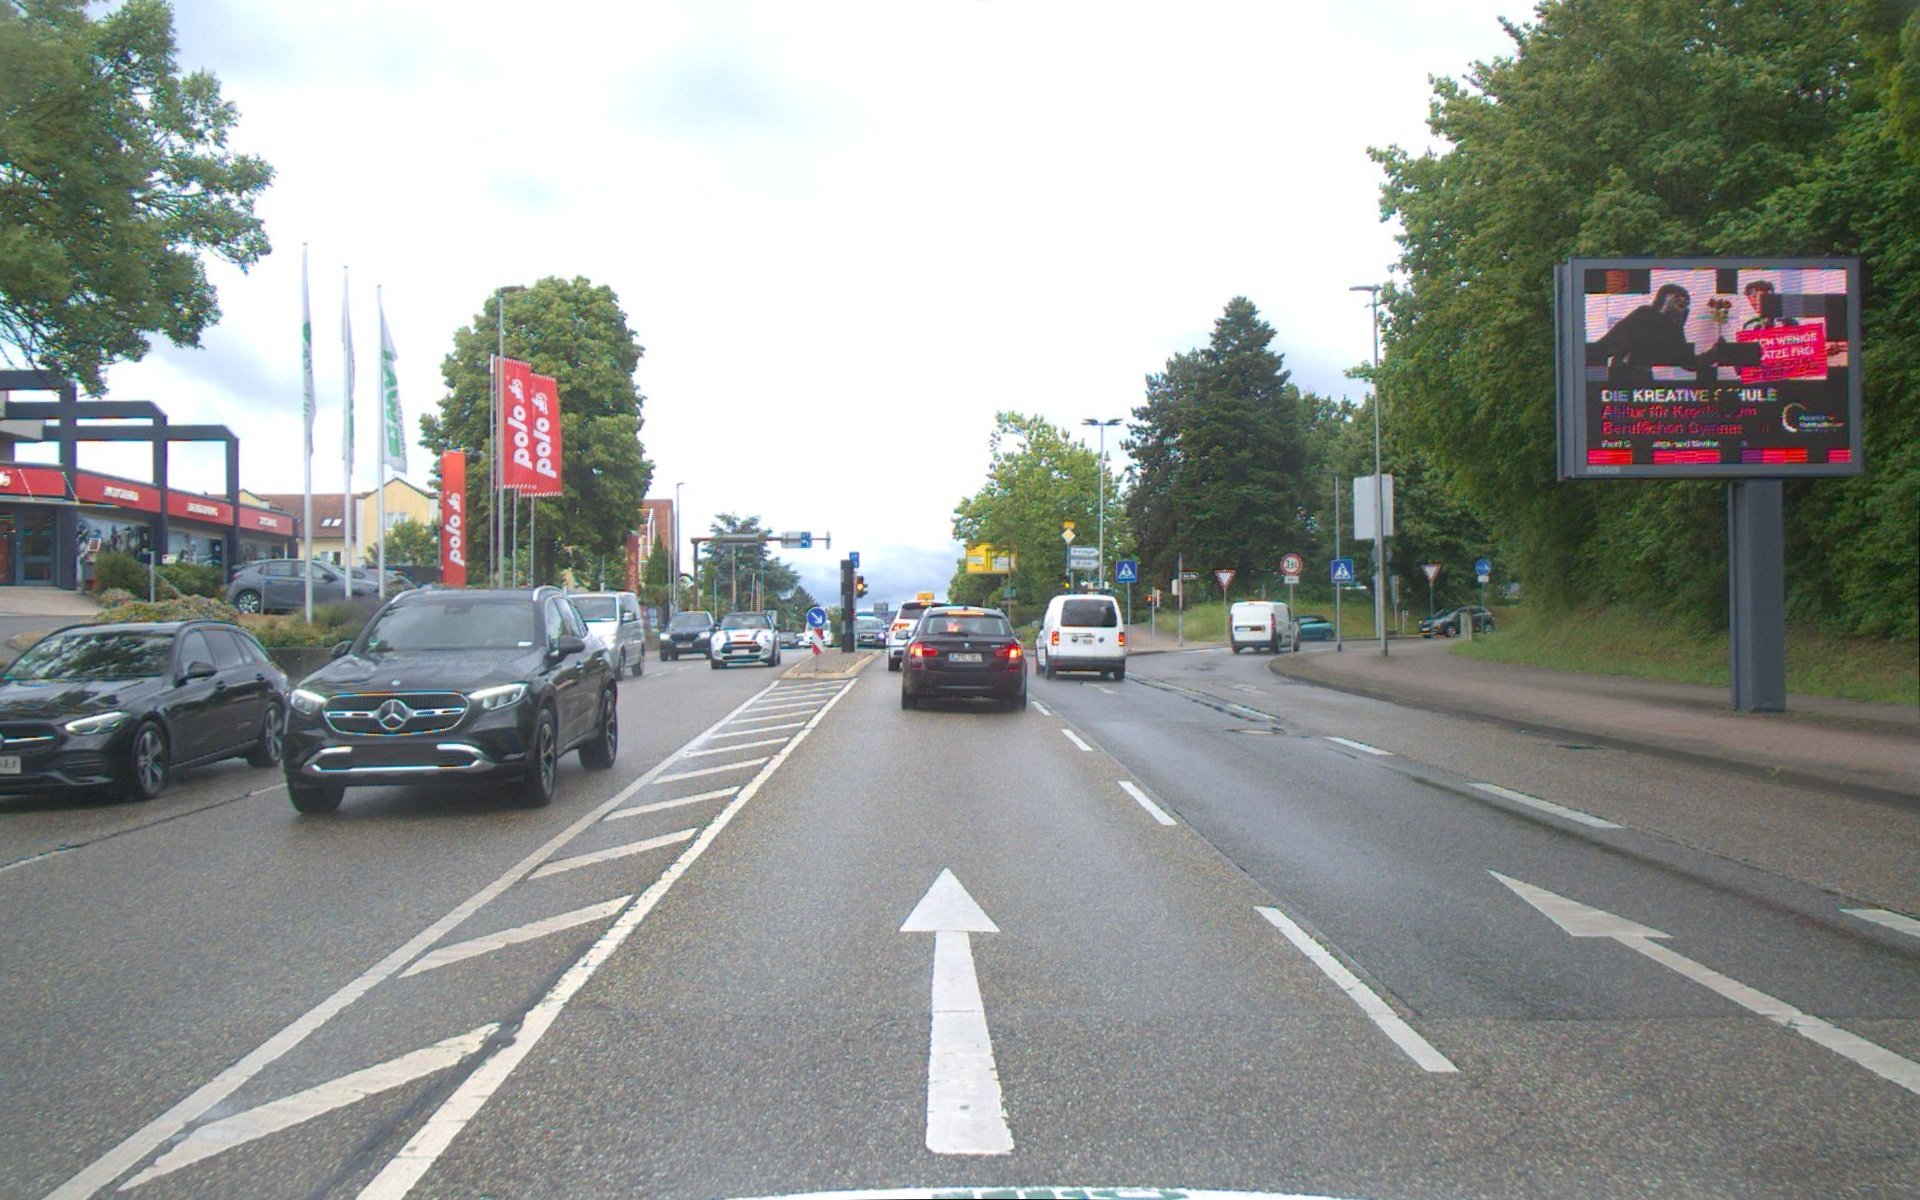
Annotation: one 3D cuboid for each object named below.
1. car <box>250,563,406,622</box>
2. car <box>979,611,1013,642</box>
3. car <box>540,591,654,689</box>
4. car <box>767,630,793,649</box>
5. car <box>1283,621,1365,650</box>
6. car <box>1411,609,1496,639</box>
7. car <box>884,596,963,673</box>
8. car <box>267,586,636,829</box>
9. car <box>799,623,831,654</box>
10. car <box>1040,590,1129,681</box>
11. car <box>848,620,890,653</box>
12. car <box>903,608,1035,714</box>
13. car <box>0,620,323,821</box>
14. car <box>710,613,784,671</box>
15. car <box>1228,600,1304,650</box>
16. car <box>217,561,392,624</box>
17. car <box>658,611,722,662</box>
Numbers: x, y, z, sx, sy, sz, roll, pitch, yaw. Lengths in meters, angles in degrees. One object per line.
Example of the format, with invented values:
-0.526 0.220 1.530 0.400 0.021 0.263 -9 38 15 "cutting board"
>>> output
-16.823 -0.199 44.193 3.579 1.508 1.738 -1 0 -9 "car"
1.711 1.272 80.348 1.567 1.396 3.680 -1 1 0 "car"
-8.184 0.864 37.630 1.760 2.017 4.894 -2 0 -4 "car"
-13.772 3.000 126.889 1.634 1.406 4.070 -1 -1 -2 "car"
18.970 1.846 86.227 3.928 1.316 1.600 -2 0 -20 "car"
25.650 1.227 85.918 4.275 1.492 1.880 -1 -1 -32 "car"
-0.846 0.808 40.128 1.692 1.741 3.383 1 1 2 "car"
-3.956 0.750 13.648 1.786 1.635 4.282 -2 0 -2 "car"
-9.341 2.494 106.932 1.820 1.855 4.576 -2 -1 -3 "car"
2.743 0.771 37.059 1.705 1.902 3.946 1 0 0 "car"
-4.370 1.736 78.974 1.857 1.481 4.093 -1 -1 -5 "car"
0.163 0.854 24.890 1.816 1.444 3.957 1 0 1 "car"
-7.322 0.946 14.606 1.756 1.426 4.299 -2 0 -1 "car"
-5.604 1.085 43.864 1.634 1.422 3.997 -2 0 -4 "car"
11.307 0.886 60.944 1.778 1.738 3.943 0 1 25 "car"
-16.400 -0.193 41.518 3.755 1.508 1.738 -1 0 -9 "car"
-9.538 1.266 58.730 1.716 1.639 4.529 -2 0 -3 "car"
